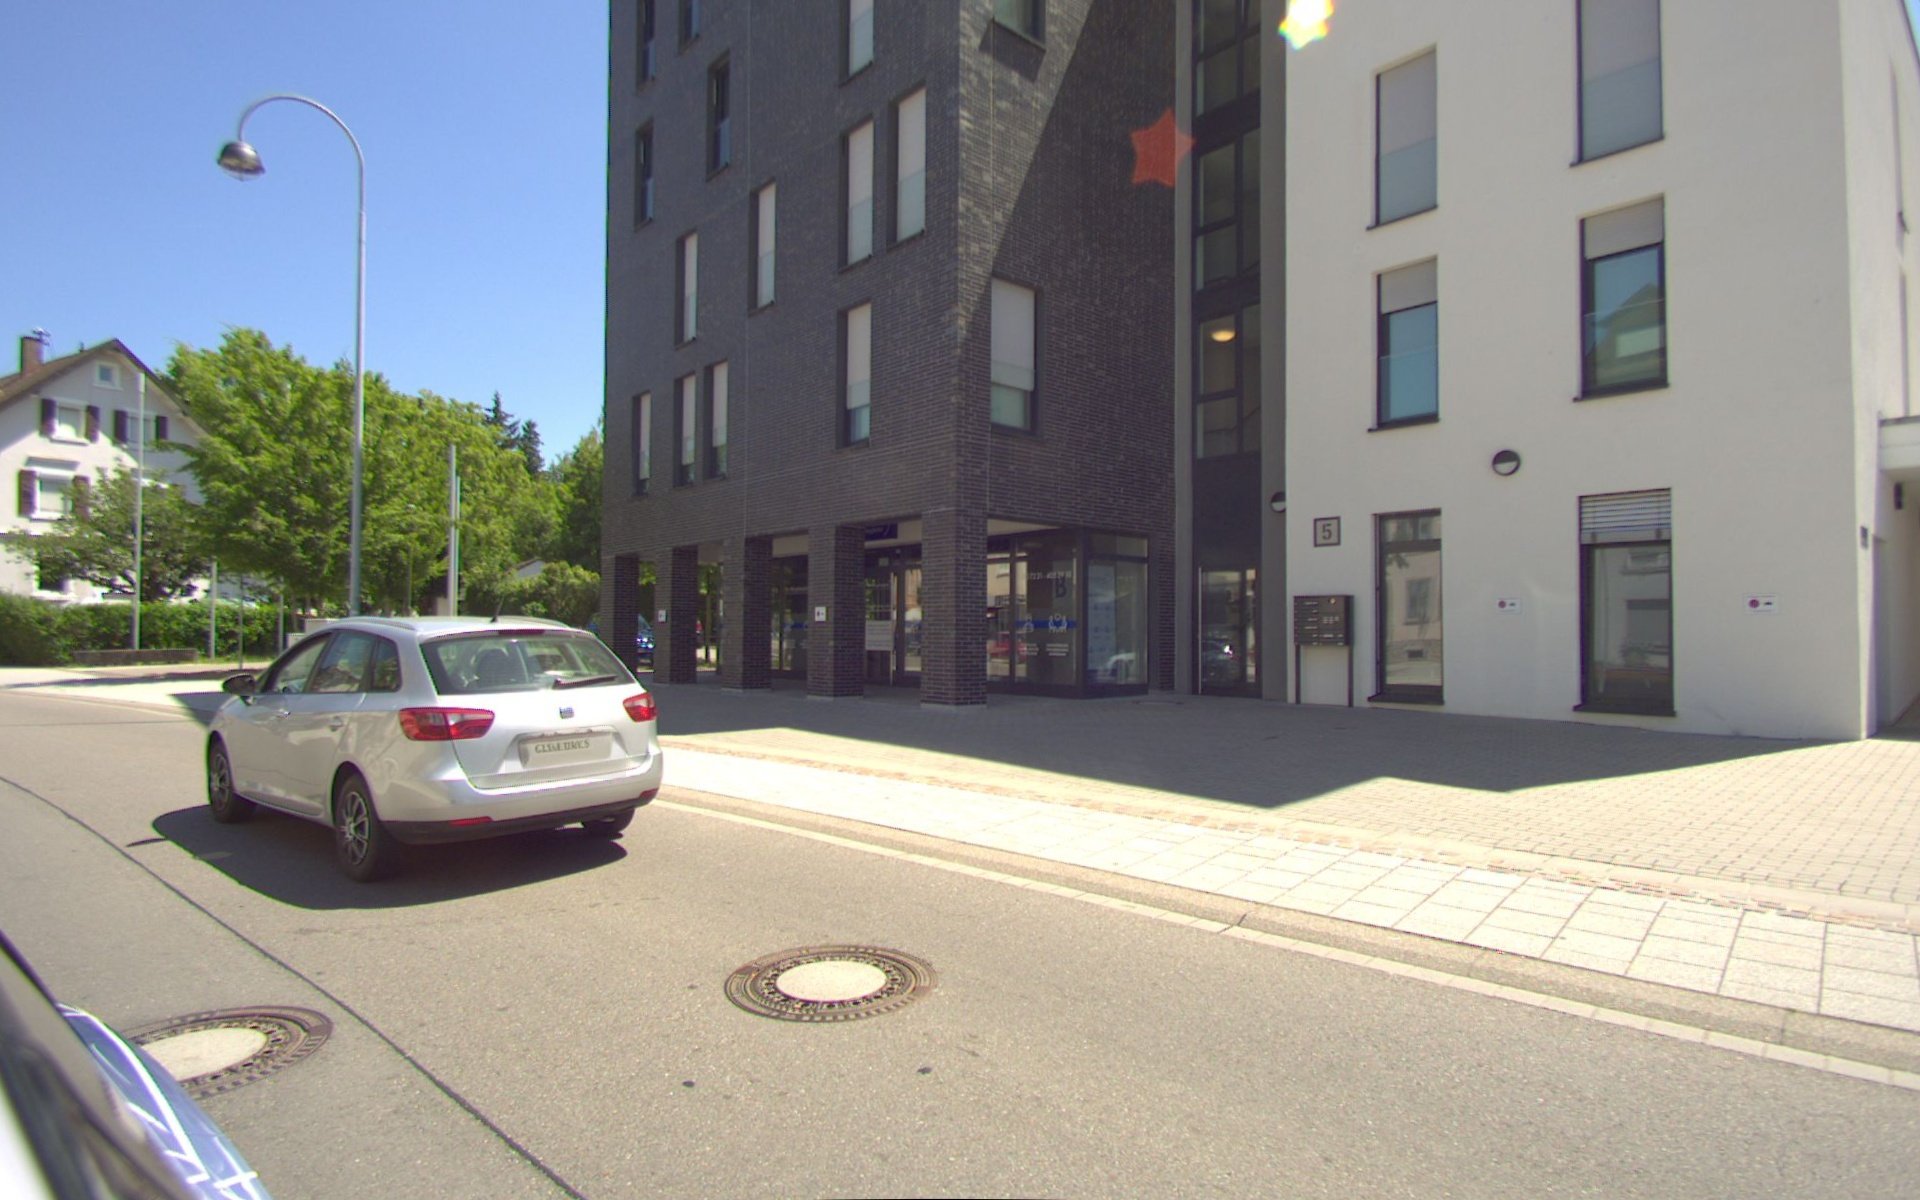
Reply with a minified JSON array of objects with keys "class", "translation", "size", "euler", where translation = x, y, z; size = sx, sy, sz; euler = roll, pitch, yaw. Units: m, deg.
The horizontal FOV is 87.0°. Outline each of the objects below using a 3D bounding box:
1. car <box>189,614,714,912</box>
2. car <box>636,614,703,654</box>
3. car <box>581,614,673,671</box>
[{"class":"car","translation":[-3.482,0.809,6.649],"size":[3.843,1.407,1.651],"euler":[-1,-2,39]},{"class":"car","translation":[-11.486,1.303,39.865],"size":[1.662,1.503,3.778],"euler":[0,-1,-31]},{"class":"car","translation":[-9.457,1.166,28.556],"size":[1.671,1.497,4.092],"euler":[2,-2,-30]}]
